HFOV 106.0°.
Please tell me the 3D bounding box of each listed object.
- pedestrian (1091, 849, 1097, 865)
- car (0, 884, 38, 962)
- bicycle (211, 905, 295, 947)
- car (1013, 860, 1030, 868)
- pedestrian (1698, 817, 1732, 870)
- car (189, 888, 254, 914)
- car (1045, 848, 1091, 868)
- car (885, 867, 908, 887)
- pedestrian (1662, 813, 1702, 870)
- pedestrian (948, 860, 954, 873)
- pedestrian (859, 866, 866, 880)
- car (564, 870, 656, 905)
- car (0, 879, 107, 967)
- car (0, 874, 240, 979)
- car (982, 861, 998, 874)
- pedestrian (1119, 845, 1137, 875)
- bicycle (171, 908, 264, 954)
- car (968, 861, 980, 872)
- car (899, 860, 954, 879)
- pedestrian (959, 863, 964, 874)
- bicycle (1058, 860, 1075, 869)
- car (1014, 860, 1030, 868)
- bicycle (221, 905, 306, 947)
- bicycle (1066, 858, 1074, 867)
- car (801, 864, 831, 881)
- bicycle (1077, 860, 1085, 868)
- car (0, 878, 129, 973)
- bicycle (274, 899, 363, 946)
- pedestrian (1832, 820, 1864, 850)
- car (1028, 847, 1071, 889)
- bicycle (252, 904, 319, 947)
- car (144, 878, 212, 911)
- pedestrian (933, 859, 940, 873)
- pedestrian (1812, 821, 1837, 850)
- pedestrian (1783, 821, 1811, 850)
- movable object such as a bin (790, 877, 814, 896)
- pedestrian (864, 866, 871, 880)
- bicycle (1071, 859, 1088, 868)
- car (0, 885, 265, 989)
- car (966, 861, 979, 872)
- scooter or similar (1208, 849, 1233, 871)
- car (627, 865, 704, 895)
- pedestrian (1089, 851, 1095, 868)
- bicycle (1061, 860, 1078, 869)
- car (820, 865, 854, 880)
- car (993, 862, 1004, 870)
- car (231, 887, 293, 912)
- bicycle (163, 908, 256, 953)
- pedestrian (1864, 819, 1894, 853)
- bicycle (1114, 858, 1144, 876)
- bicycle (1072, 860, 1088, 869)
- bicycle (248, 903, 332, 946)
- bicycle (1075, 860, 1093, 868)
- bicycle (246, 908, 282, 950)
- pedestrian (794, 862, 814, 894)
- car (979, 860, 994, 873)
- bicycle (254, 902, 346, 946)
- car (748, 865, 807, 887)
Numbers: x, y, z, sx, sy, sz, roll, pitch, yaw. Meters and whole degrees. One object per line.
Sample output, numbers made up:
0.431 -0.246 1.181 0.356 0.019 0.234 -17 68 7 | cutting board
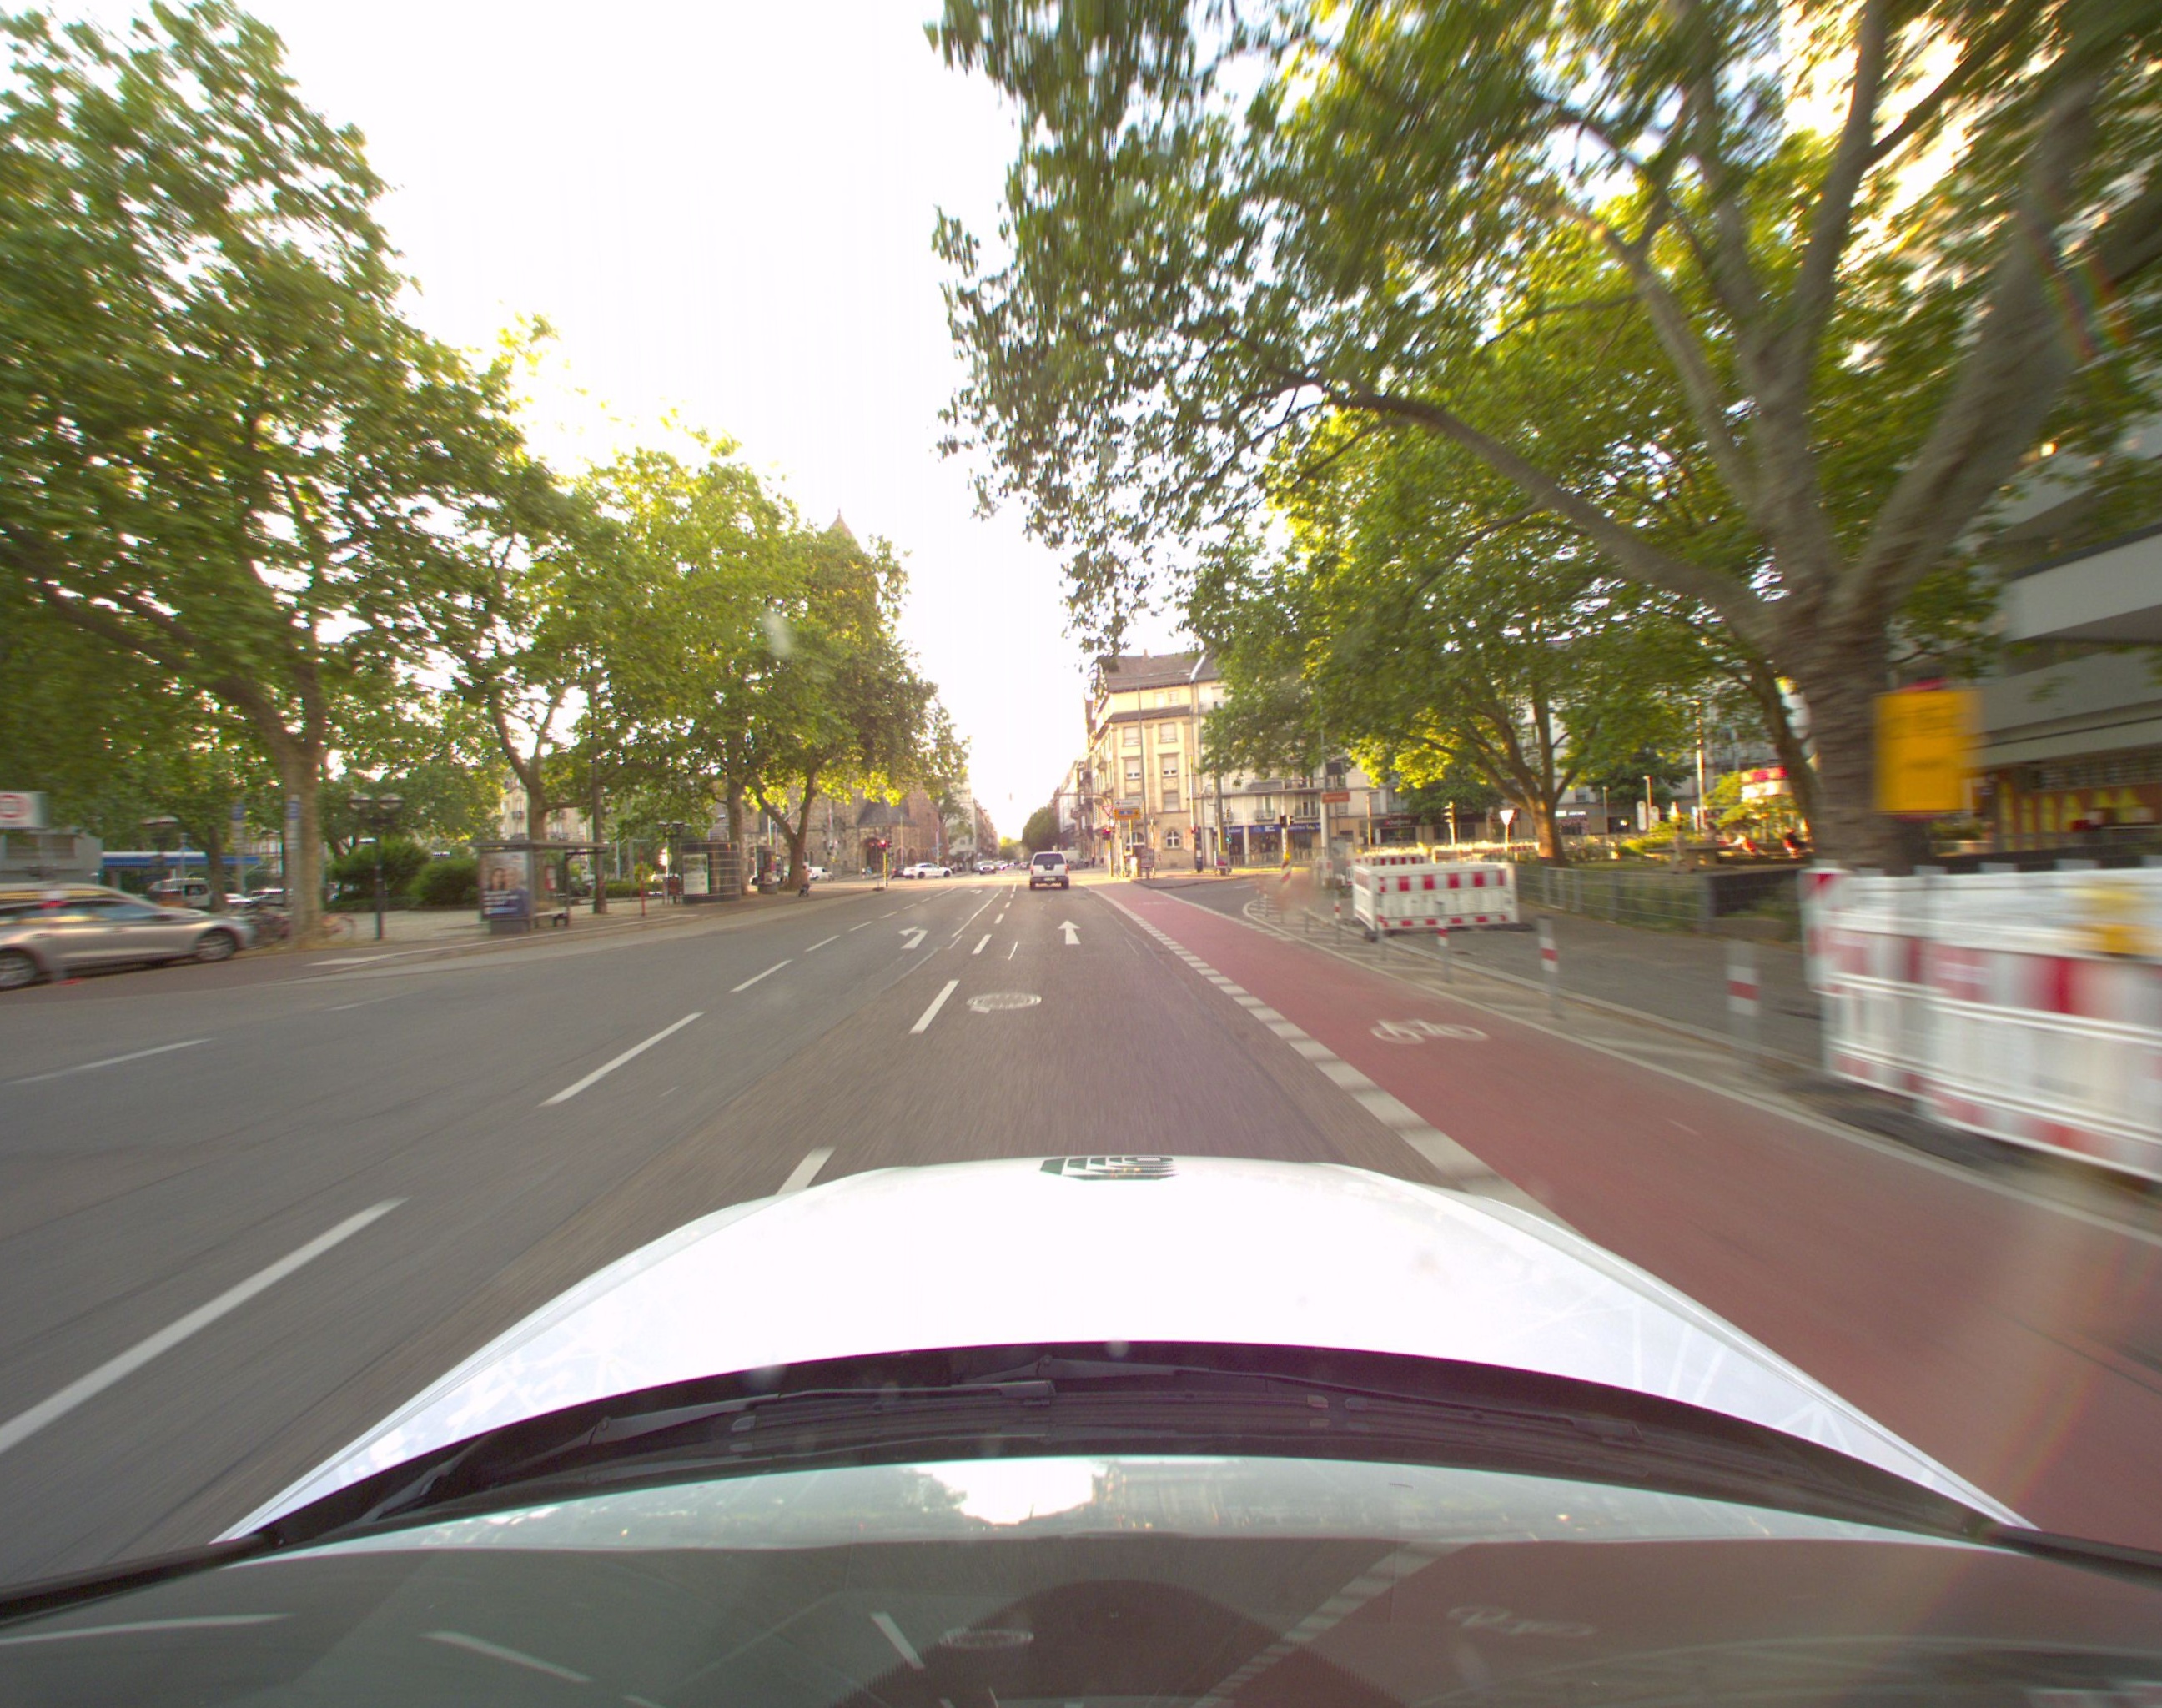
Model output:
1.533 0.358 95.261 0.591 1.768 0.653 -2 0 1 | pedestrian
-27.613 1.758 18.294 2.061 1.841 4.654 -2 1 19 | car
-22.085 1.914 21.757 0.390 0.968 1.513 -3 0 24 | bicycle
-14.676 2.455 200.108 3.983 1.816 1.995 -2 0 -7 | car
21.529 -0.360 27.670 0.709 1.758 0.666 -3 0 23 | pedestrian
-66.870 3.677 63.373 4.288 1.842 1.941 -2 -1 21 | car
-1.622 0.442 101.708 5.857 2.288 2.047 -2 0 -44 | car
-18.715 2.303 82.625 2.081 1.841 4.610 -3 1 -13 | car
19.067 -0.382 25.830 0.662 1.758 0.713 -2 0 -17 | pedestrian
-18.418 1.763 115.502 0.589 1.886 0.555 -2 0 13 | pedestrian
-25.065 2.157 93.486 0.553 1.584 0.549 -2 0 7 | pedestrian
-29.715 2.095 51.534 2.060 1.841 4.656 -2 1 21 | car
-25.134 1.627 17.643 2.061 1.841 4.654 -2 1 19 | car
-20.623 1.438 16.447 1.804 1.800 4.654 -2 1 19 | car
-12.255 1.822 109.940 1.993 1.651 3.810 -1 0 -8 | car
2.843 0.346 48.924 0.797 1.768 0.717 -2 0 -18 | pedestrian
-21.258 1.885 20.084 0.390 0.968 1.513 -3 0 24 | bicycle
-17.840 2.052 135.389 1.993 1.651 3.810 -1 0 -8 | car
-14.306 1.440 75.805 4.671 1.530 1.975 -2 0 -44 | car
-20.267 2.457 138.211 0.548 1.886 0.597 -2 0 11 | pedestrian
-1.717 1.220 96.683 1.910 0.968 0.545 -2 0 -3 | bicycle
-15.204 2.562 208.622 3.983 1.816 1.995 -2 0 -7 | car
-21.628 1.888 21.579 0.390 0.968 1.513 -3 0 24 | bicycle
-1.324 1.022 98.038 0.540 0.968 1.928 -2 0 14 | bicycle
-34.089 2.379 104.942 1.692 1.909 3.514 -2 0 23 | car
0.023 1.194 97.643 0.540 0.968 1.928 -2 0 14 | bicycle
-23.172 1.555 16.419 2.061 1.841 4.654 -2 1 19 | car
-19.593 1.742 20.961 0.397 1.073 1.603 -3 0 24 | bicycle
29.606 -0.719 31.456 0.662 1.136 0.629 -2 0 17 | pedestrian
-1.513 0.645 39.424 1.861 1.815 3.997 -3 0 -2 | car
-20.995 1.869 21.517 0.393 0.968 1.500 -2 0 -7 | bicycle
-67.318 3.003 60.735 4.288 2.260 1.941 -3 -1 21 | car
-18.915 1.574 106.806 0.650 1.886 0.587 -2 0 11 | pedestrian
30.211 -0.754 33.089 0.628 1.129 0.601 -2 0 -35 | pedestrian
28.541 -0.720 32.489 0.623 1.112 0.579 -2 0 16 | pedestrian
-14.394 1.670 42.017 0.733 0.890 0.986 -2 0 11 | movable object such as a bin
-24.473 2.138 93.409 0.553 1.584 0.549 -2 0 7 | pedestrian
-0.141 1.066 95.215 1.910 0.968 0.545 -2 0 -3 | bicycle
-18.045 1.454 14.499 1.806 1.481 4.648 -3 1 13 | car
-17.049 1.980 127.698 1.993 1.651 3.810 -1 0 -8 | car
8.241 0.368 48.147 0.548 1.250 1.374 -2 0 -40 | scooter or similar
-29.973 1.865 58.877 2.060 1.841 4.656 -2 1 21 | car
1.314 0.656 95.603 0.591 1.886 0.647 -2 0 1 | pedestrian
-1.399 1.208 95.888 1.915 0.968 0.544 -2 0 -10 | bicycle
-30.658 2.327 102.396 3.763 1.805 1.721 -2 0 18 | car
-16.070 2.265 158.164 1.993 1.506 3.810 -1 0 -8 | car
-66.138 3.682 65.772 4.288 1.842 1.941 -2 -1 21 | car
-21.793 1.902 20.391 0.390 0.968 1.513 -3 0 24 | bicycle
28.643 -0.634 29.234 0.557 1.178 0.546 -2 0 -14 | pedestrian
2.852 0.767 48.422 1.690 0.968 0.544 -2 0 -8 | bicycle
-0.112 1.182 95.494 1.910 0.968 0.545 -2 0 -3 | bicycle
-20.626 1.834 21.270 0.390 0.968 1.513 -3 0 24 | bicycle
0.350 1.181 96.290 1.901 0.968 0.548 -2 0 13 | bicycle
-20.000 1.816 19.934 1.484 0.968 0.397 -3 0 37 | bicycle
-14.592 1.279 42.910 0.733 1.629 0.688 -2 0 11 | pedestrian
-12.324 1.635 105.990 1.781 1.651 3.810 -1 0 -8 | car
-20.248 1.803 21.154 0.403 0.968 1.652 -3 0 24 | bicycle
-25.945 1.887 69.743 4.238 1.651 2.000 -2 0 0 | car
